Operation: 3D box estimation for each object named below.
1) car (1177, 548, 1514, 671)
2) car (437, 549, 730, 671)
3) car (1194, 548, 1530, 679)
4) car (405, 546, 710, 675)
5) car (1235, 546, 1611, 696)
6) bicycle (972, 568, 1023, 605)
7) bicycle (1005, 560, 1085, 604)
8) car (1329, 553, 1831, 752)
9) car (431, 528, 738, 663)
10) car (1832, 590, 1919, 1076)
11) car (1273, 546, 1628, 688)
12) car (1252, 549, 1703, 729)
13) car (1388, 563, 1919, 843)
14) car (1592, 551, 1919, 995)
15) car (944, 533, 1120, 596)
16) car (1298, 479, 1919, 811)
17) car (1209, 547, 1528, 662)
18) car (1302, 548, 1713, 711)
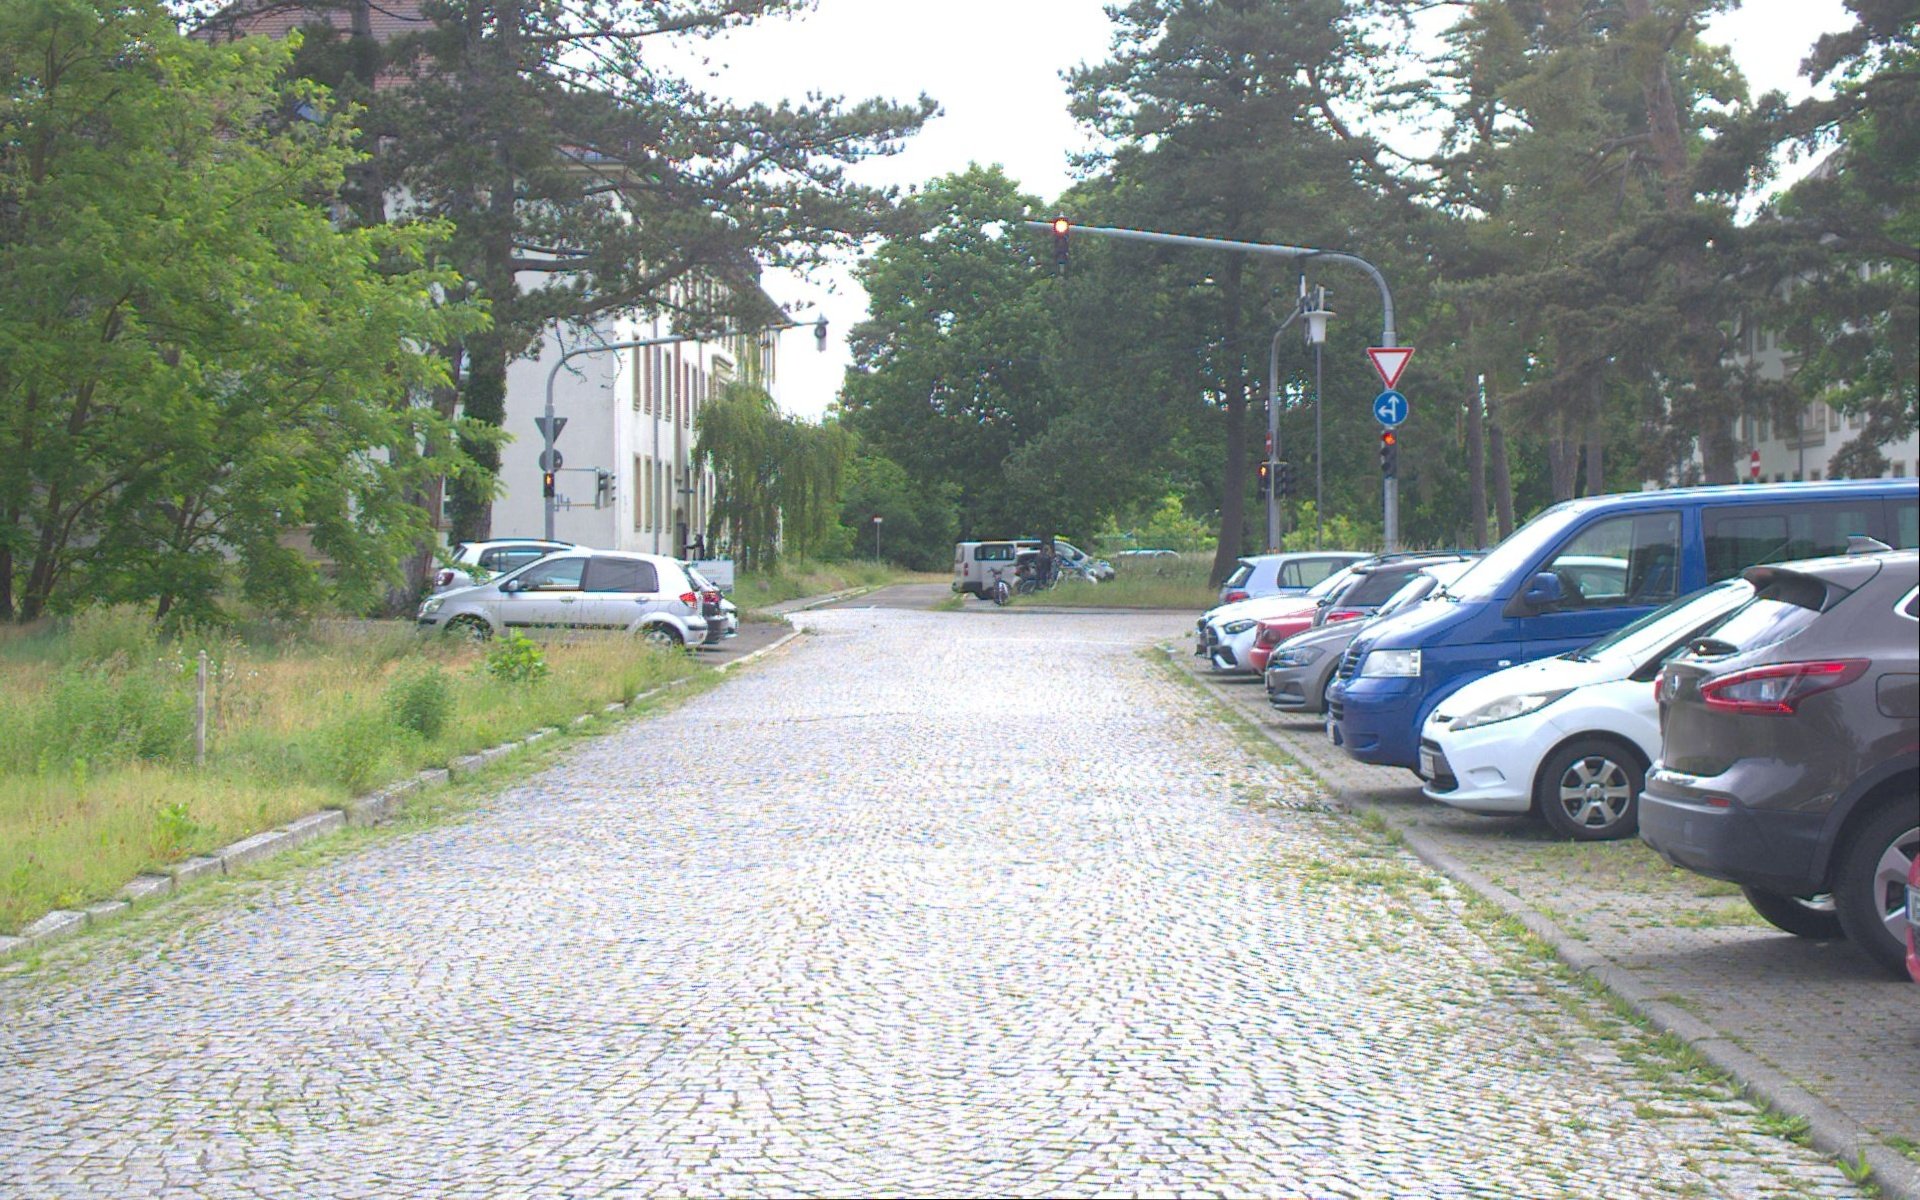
[{"bbox_3d":[4.809,0.106,43.221,3.967,1.416,1.620,-1,0,-3],"label":"car"},{"bbox_3d":[-5.161,0.131,47.437,3.821,1.567,1.564,-1,0,1],"label":"car"},{"bbox_3d":[4.687,0.143,40.368,3.671,1.416,1.524,-1,0,-3],"label":"car"},{"bbox_3d":[-5.235,0.128,45.021,3.821,1.567,1.564,-1,0,-2],"label":"car"},{"bbox_3d":[4.783,0.205,35.827,3.672,1.444,1.524,-1,0,-1],"label":"car"},{"bbox_3d":[0.987,-0.357,90.824,0.620,0.942,1.663,0,1,-27],"label":"bicycle"},{"bbox_3d":[2.345,-0.499,94.863,2.136,1.210,0.622,1,1,-3],"label":"bicycle"},{"bbox_3d":[4.877,0.399,27.351,3.672,1.444,1.524,-1,0,-1],"label":"car"},{"bbox_3d":[-5.474,-0.072,50.430,4.262,1.834,1.744,-1,0,1],"label":"car"},{"bbox_3d":[4.784,0.665,10.470,3.792,1.455,1.751,-1,1,1],"label":"car"},{"bbox_3d":[5.401,0.175,38.099,3.672,1.444,1.524,-1,0,-1],"label":"car"},{"bbox_3d":[4.489,0.326,30.139,3.672,1.444,1.524,-1,0,-1],"label":"car"},{"bbox_3d":[4.395,0.541,19.490,3.671,1.444,1.615,-1,0,-1],"label":"car"},{"bbox_3d":[4.616,0.567,13.106,4.028,1.547,1.751,-1,0,-1],"label":"car"},{"bbox_3d":[2.344,-1.173,112.771,5.444,2.007,2.269,1,1,-8],"label":"car"},{"bbox_3d":[4.672,0.251,22.074,4.754,1.948,1.931,-1,0,-1],"label":"car"},{"bbox_3d":[5.414,0.048,45.858,3.967,1.416,1.620,-1,0,-3],"label":"car"},{"bbox_3d":[5.228,0.265,33.111,3.672,1.444,1.524,-1,0,-1],"label":"car"}]
